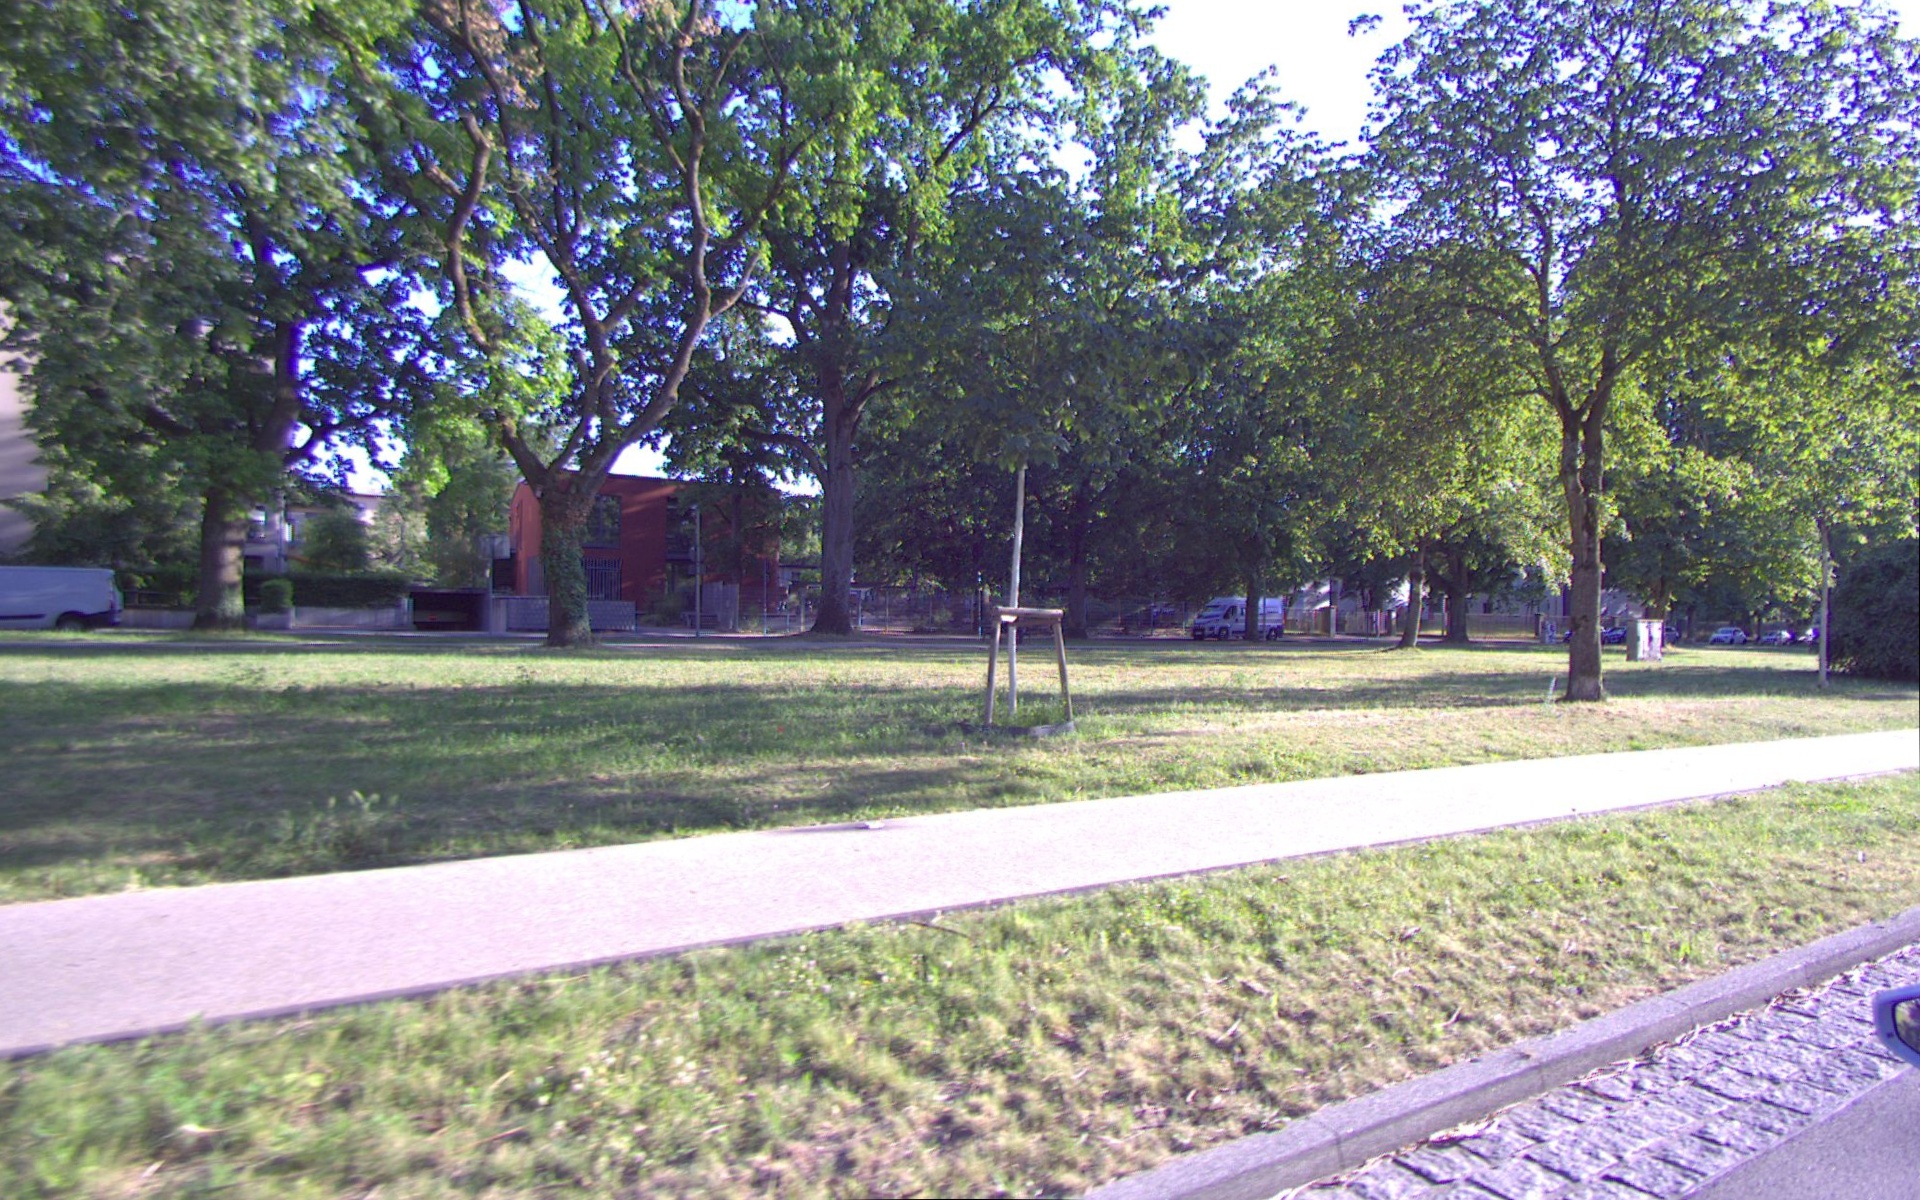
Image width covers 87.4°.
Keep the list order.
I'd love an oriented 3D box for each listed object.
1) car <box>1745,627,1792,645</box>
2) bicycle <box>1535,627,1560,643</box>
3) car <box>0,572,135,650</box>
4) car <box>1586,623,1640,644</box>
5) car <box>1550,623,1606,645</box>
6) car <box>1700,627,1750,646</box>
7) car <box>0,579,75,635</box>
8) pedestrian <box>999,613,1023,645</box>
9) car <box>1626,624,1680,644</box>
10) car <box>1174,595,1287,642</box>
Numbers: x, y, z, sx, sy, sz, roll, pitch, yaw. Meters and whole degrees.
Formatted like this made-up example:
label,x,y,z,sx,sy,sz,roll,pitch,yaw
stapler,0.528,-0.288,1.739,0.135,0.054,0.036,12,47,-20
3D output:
label,x,y,z,sx,sy,sz,roll,pitch,yaw
car,73.194,3.287,90.929,4.066,1.528,1.985,2,-1,-29
bicycle,44.743,2.678,76.445,2.309,1.191,0.653,2,-1,-33
car,-26.763,0.285,28.541,4.922,2.142,2.650,2,0,-37
car,50.901,2.600,78.277,3.952,1.528,1.985,2,-1,-29
car,46.773,2.560,76.027,3.952,1.528,1.985,2,-1,-29
car,66.116,3.160,86.785,4.066,1.528,1.985,2,-1,-29
car,-29.596,0.182,30.488,3.694,1.639,1.984,2,0,-30
pedestrian,1.678,0.947,32.829,0.601,1.000,0.547,2,-1,-19
car,55.695,2.729,80.686,4.066,1.528,1.985,2,-1,-29
car,15.495,1.068,57.395,6.247,2.496,2.706,2,-1,-31
